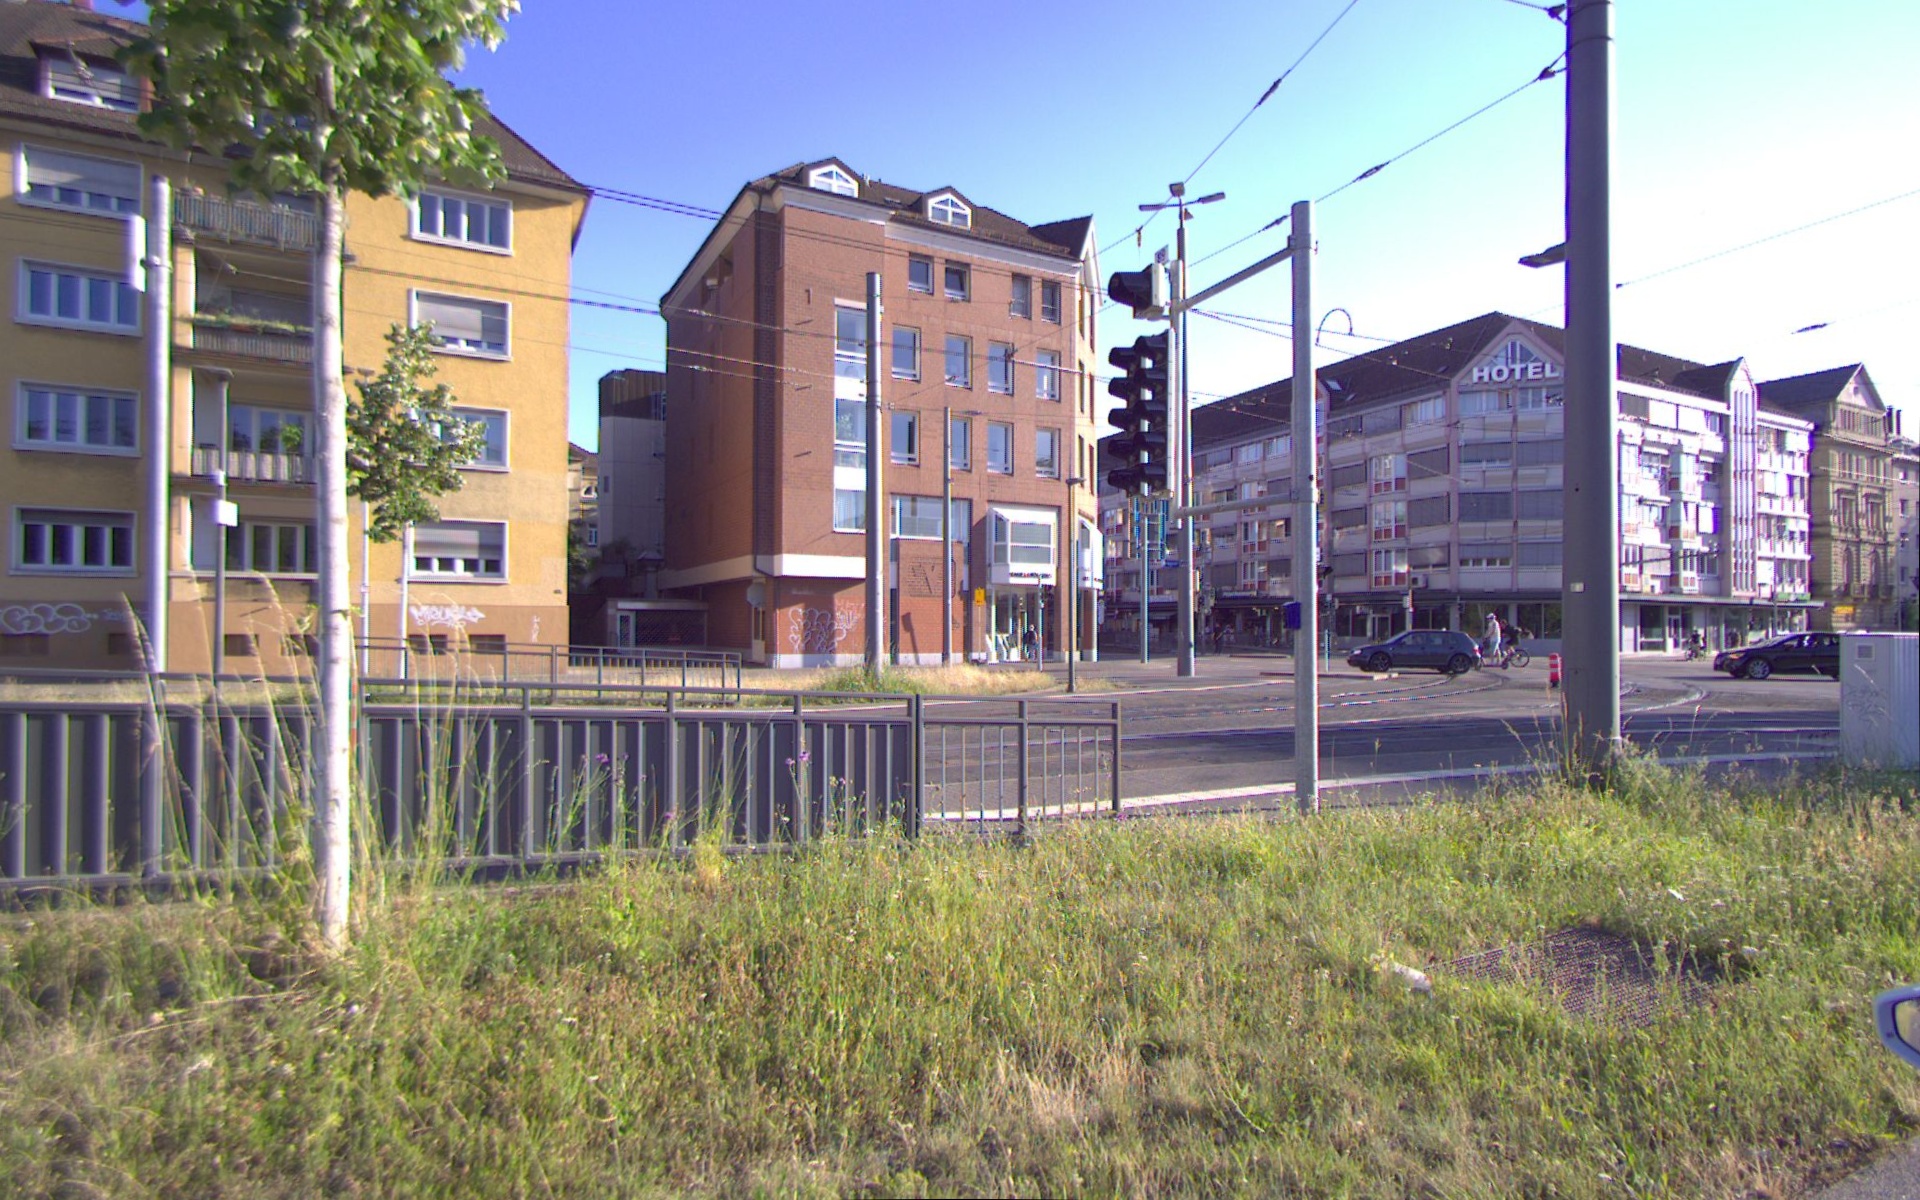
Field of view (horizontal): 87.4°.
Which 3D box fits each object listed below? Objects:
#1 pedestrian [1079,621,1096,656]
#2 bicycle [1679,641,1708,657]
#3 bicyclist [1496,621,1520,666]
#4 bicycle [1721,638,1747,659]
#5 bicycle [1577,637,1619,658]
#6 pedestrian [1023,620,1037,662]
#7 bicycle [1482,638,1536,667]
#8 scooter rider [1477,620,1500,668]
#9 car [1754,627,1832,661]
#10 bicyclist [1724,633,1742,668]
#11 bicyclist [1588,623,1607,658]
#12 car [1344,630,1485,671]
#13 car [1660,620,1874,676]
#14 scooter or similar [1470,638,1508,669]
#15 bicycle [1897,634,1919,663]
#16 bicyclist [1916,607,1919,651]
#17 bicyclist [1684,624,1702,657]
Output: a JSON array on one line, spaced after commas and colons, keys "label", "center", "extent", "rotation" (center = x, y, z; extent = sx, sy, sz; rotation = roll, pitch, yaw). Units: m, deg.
[{"label": "pedestrian", "center": [7.564, 2.279, 59.638], "extent": [0.713, 2.040, 0.712], "rotation": [1, -1, -26]}, {"label": "bicycle", "center": [41.981, 2.805, 57.486], "extent": [1.813, 0.927, 0.596], "rotation": [1, -2, -28]}, {"label": "bicyclist", "center": [21.113, 1.684, 38.723], "extent": [0.652, 1.734, 0.539], "rotation": [0, -1, 8]}, {"label": "bicycle", "center": [44.785, 2.798, 58.127], "extent": [1.946, 1.216, 0.604], "rotation": [1, -1, -33]}, {"label": "bicycle", "center": [32.119, 2.384, 50.572], "extent": [0.535, 1.073, 1.719], "rotation": [1, -2, -38]}, {"label": "pedestrian", "center": [3.043, 1.770, 43.742], "extent": [0.532, 1.831, 0.502], "rotation": [0, -1, -1]}, {"label": "bicycle", "center": [21.136, 2.017, 38.718], "extent": [1.745, 1.086, 0.535], "rotation": [0, -2, 8]}, {"label": "scooter rider", "center": [18.984, 1.574, 36.083], "extent": [0.655, 1.734, 0.525], "rotation": [-1, -2, 37]}, {"label": "car", "center": [47.302, 2.476, 57.028], "extent": [3.948, 1.884, 1.987], "rotation": [1, -2, -27]}, {"label": "bicyclist", "center": [44.711, 2.915, 58.091], "extent": [0.771, 2.040, 0.599], "rotation": [1, -1, -33]}, {"label": "bicyclist", "center": [32.109, 2.046, 50.602], "extent": [0.534, 1.734, 0.658], "rotation": [1, -2, -38]}, {"label": "car", "center": [14.980, 1.663, 33.311], "extent": [3.919, 1.305, 1.849], "rotation": [0, -2, 10]}, {"label": "car", "center": [24.514, 1.450, 30.743], "extent": [4.686, 1.617, 2.000], "rotation": [-1, -2, 21]}, {"label": "scooter or similar", "center": [18.998, 1.904, 36.063], "extent": [1.156, 1.086, 0.528], "rotation": [-1, -2, 36]}, {"label": "bicycle", "center": [38.990, 1.955, 40.180], "extent": [0.651, 1.152, 2.082], "rotation": [1, -2, -33]}, {"label": "bicyclist", "center": [38.991, 1.152, 40.196], "extent": [0.648, 1.776, 0.893], "rotation": [1, -2, -33]}, {"label": "bicyclist", "center": [41.935, 2.334, 57.481], "extent": [0.634, 1.886, 0.591], "rotation": [1, -2, -27]}]
